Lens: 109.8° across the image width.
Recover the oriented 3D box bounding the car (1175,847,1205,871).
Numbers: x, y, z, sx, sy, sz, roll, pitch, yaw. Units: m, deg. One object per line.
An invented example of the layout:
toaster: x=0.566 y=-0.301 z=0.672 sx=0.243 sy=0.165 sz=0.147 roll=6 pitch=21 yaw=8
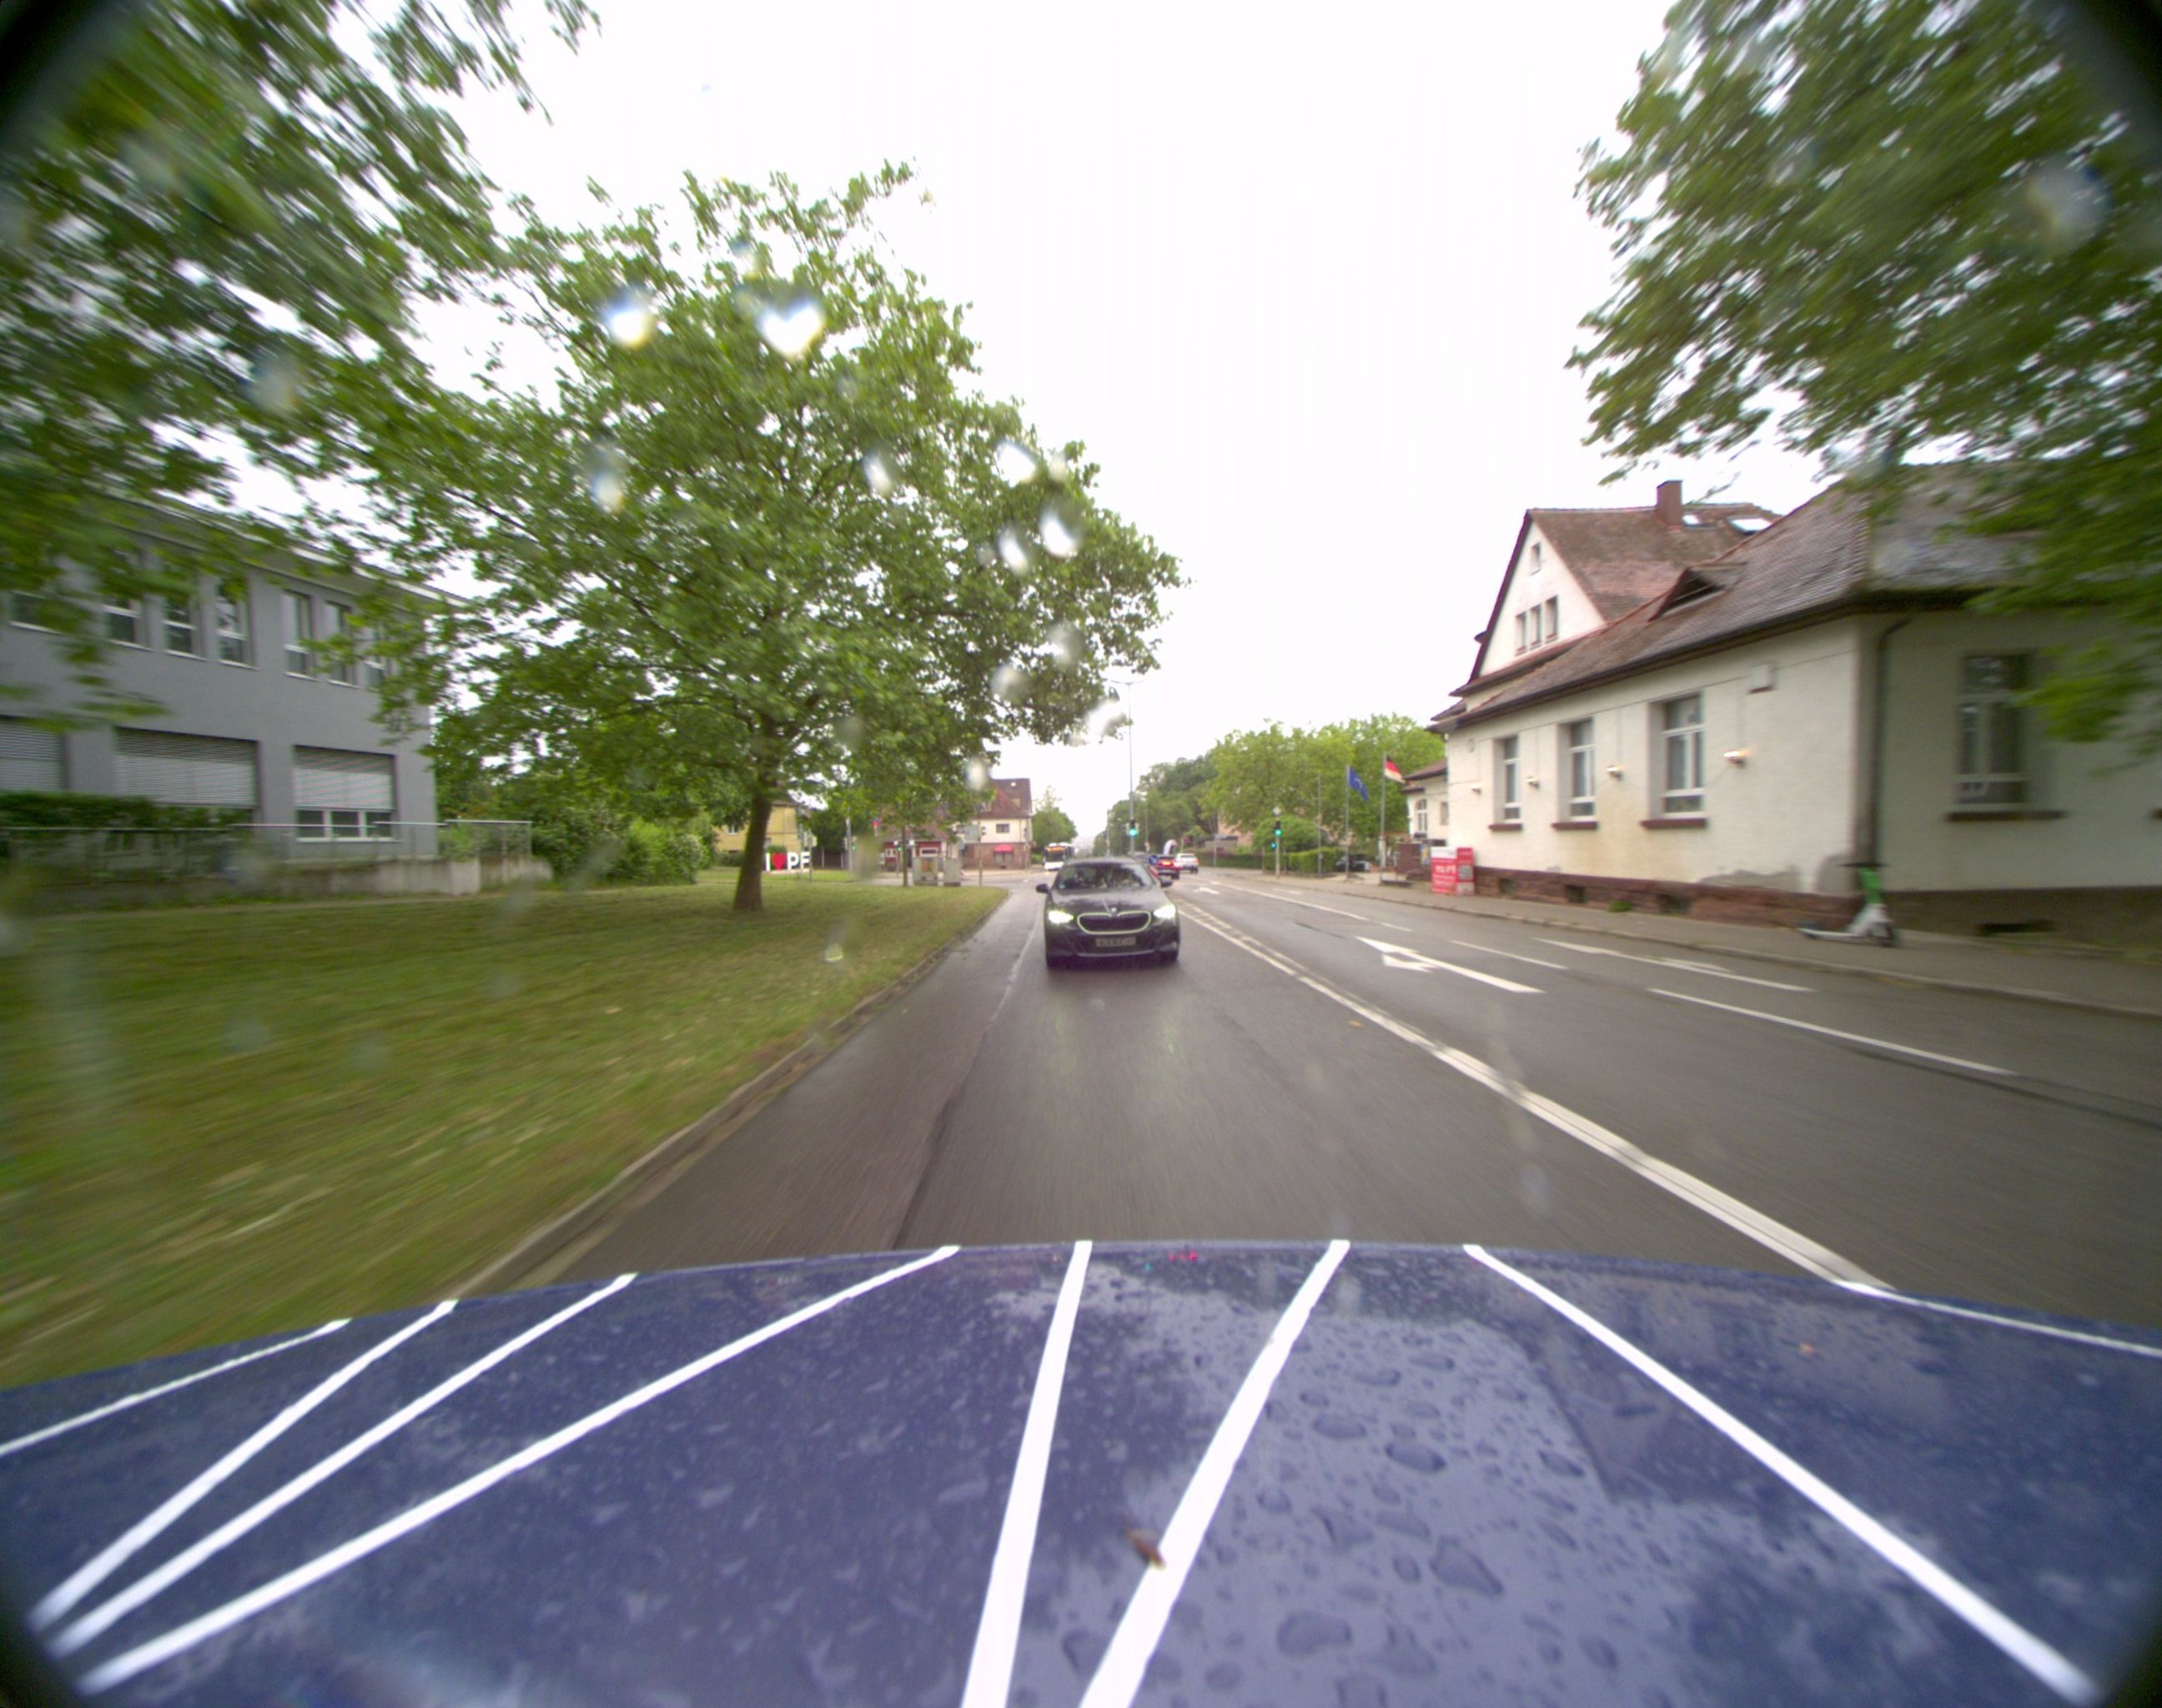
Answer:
car: x=8.968 y=0.422 z=62.833 sx=1.998 sy=1.674 sz=4.002 roll=6 pitch=0 yaw=5

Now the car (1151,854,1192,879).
car: x=5.406 y=0.718 z=45.660 sx=1.998 sy=1.420 sz=4.388 roll=0 pitch=0 yaw=1

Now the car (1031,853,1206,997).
car: x=0.344 y=0.840 z=11.005 sx=1.999 sy=1.586 sz=4.146 roll=-3 pitch=0 yaw=-3

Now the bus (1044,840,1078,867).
bus: x=-2.156 y=-0.142 z=86.573 sx=2.897 sy=2.770 sz=10.387 roll=-4 pitch=1 yaw=3

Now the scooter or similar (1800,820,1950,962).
scooter or similar: x=10.679 y=0.452 z=10.294 sx=0.402 sy=1.765 sz=1.512 roll=-2 pitch=2 yaw=-3

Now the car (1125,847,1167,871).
car: x=4.710 y=0.374 z=55.731 sx=2.000 sy=1.652 sz=4.299 roll=-1 pitch=0 yaw=-11
